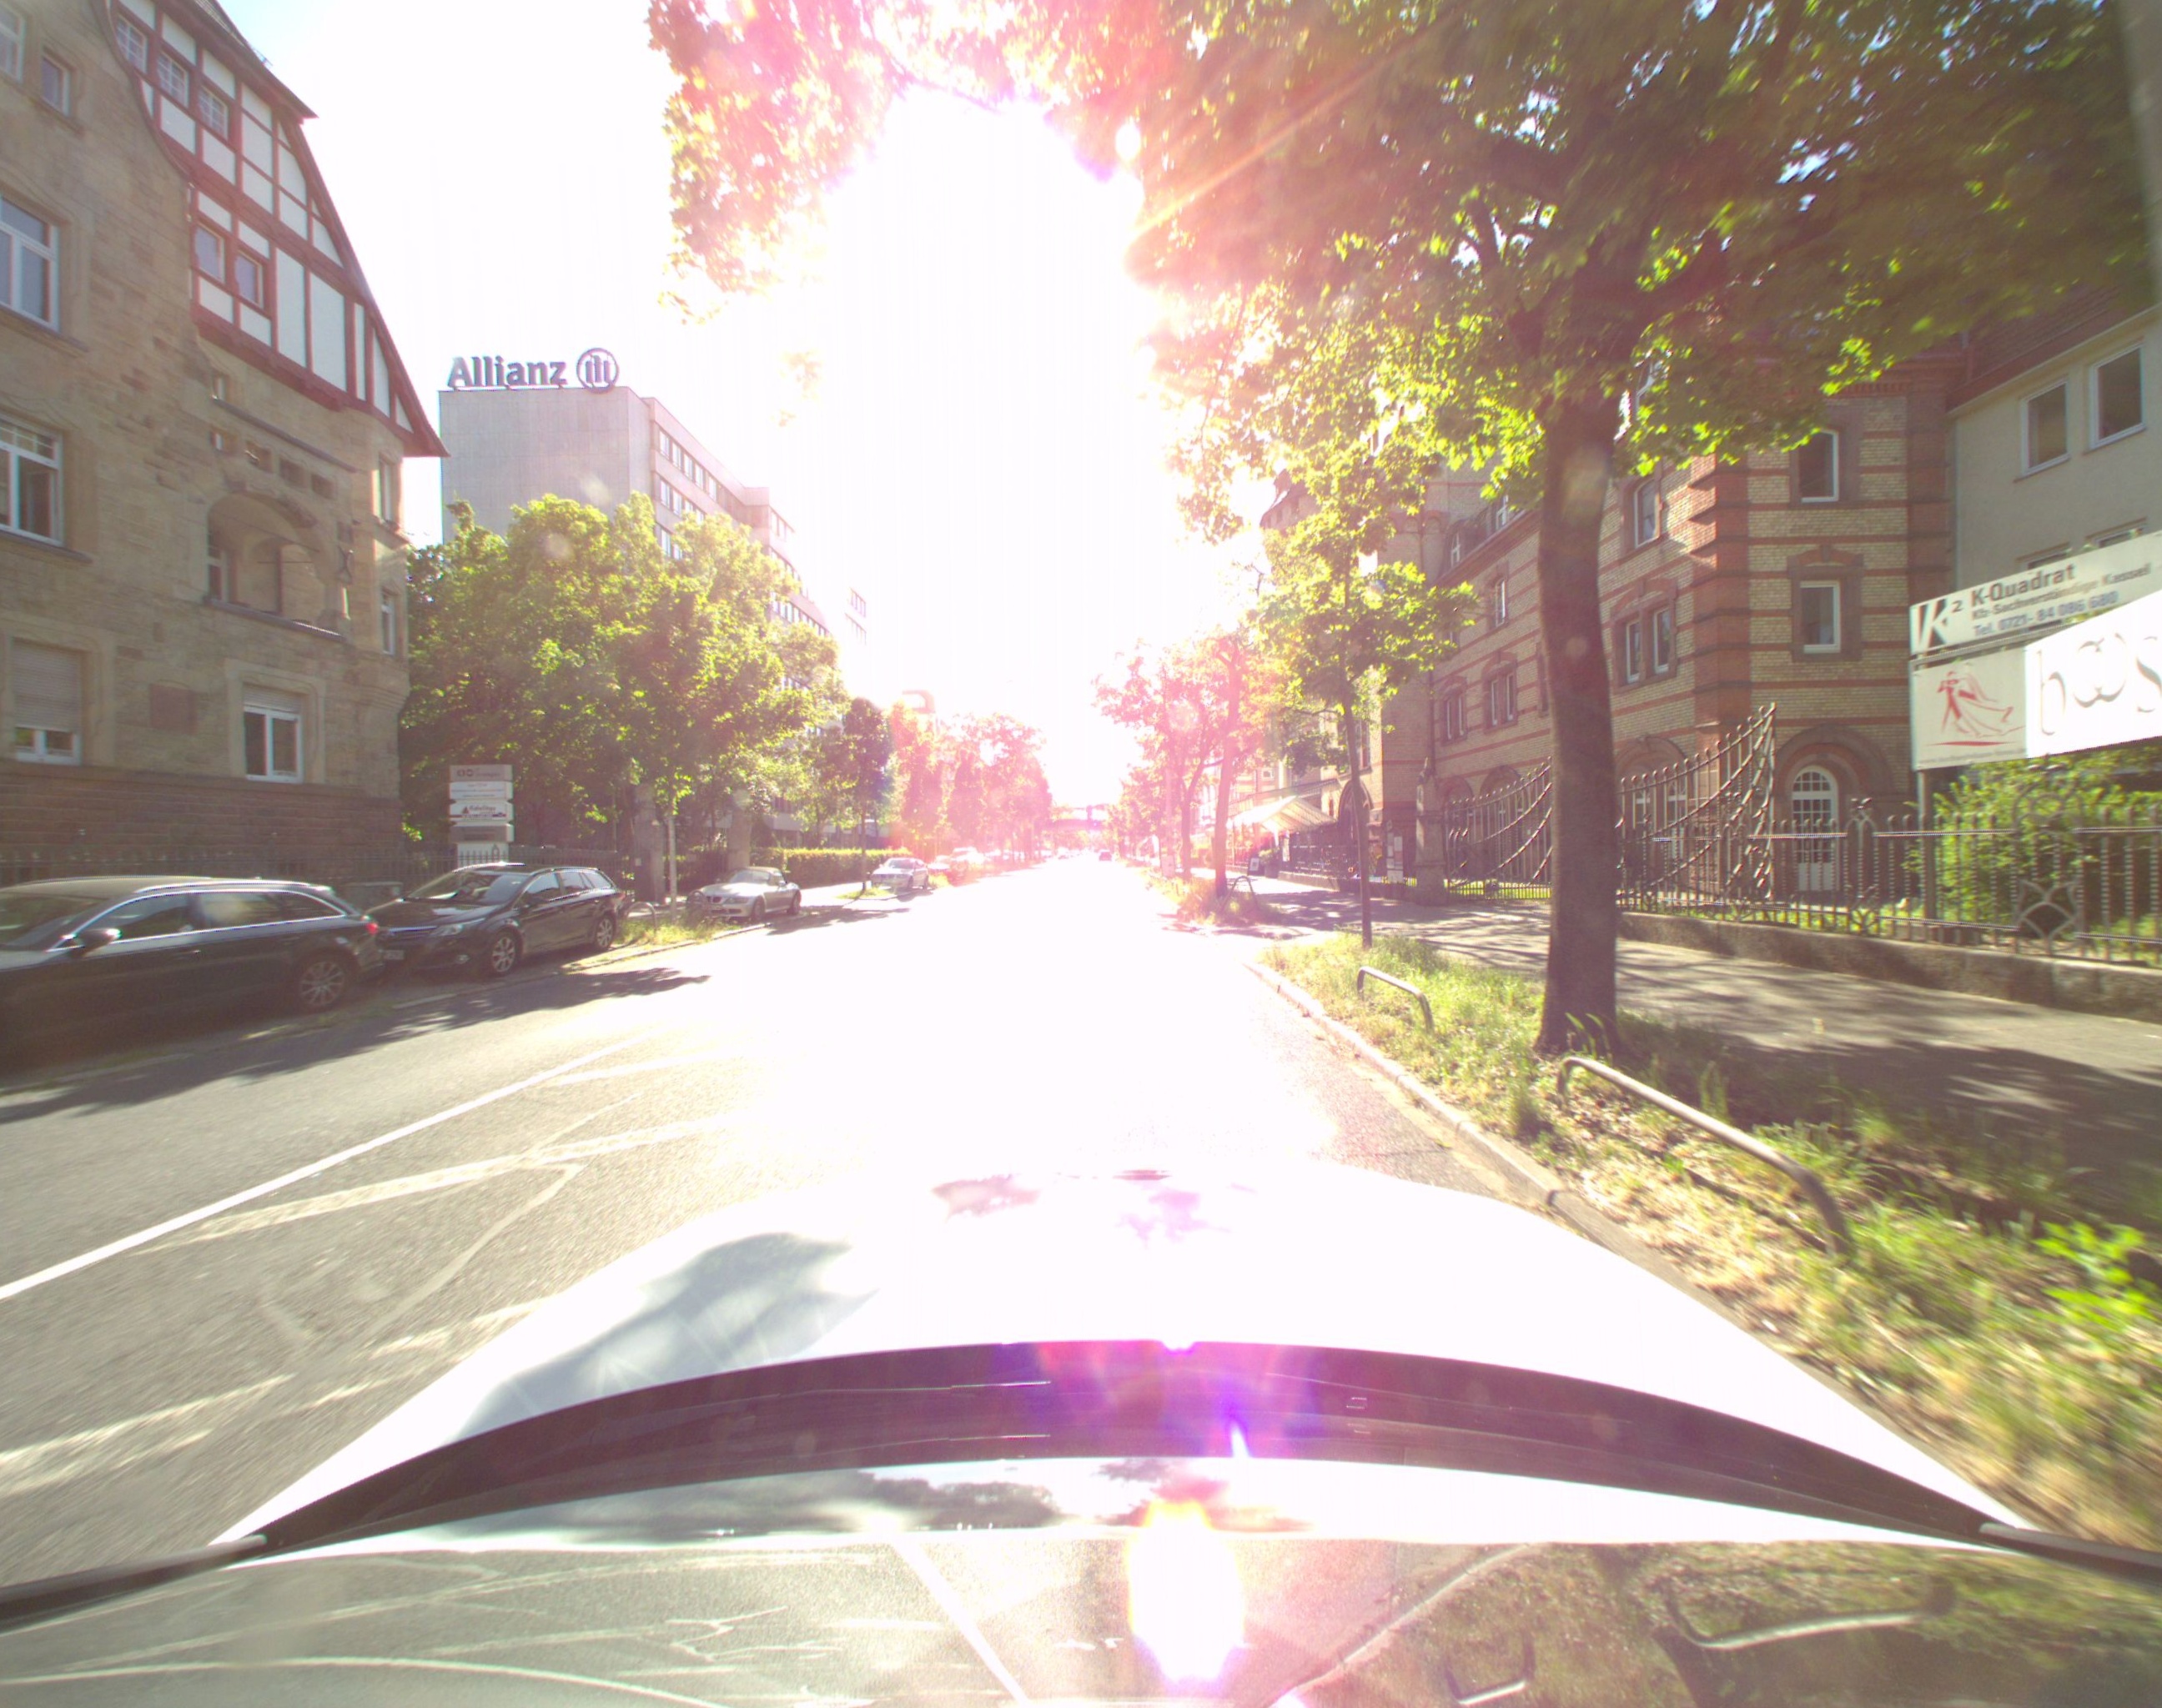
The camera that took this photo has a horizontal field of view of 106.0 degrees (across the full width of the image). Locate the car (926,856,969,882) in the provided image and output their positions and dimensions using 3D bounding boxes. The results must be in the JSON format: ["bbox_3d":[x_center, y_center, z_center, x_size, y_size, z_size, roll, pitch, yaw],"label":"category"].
[{"bbox_3d":[-7.802,0.861,47.940,1.705,1.458,4.075,0,0,3],"label":"car"}]

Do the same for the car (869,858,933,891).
[{"bbox_3d":[-8.006,0.883,36.653,1.681,1.383,4.195,0,0,4],"label":"car"}]

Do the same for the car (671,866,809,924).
[{"bbox_3d":[-8.419,0.955,20.529,1.672,1.255,4.016,0,0,2],"label":"car"}]

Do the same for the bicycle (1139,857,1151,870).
[{"bbox_3d":[5.728,0.835,72.895,0.586,1.066,2.032,-1,0,18],"label":"bicycle"}]

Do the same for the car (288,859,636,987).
[{"bbox_3d":[-8.960,0.874,12.463,1.852,1.494,4.700,3,0,-3],"label":"car"}]

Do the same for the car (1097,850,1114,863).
[{"bbox_3d":[3.003,0.281,100.733,1.978,1.600,4.140,0,0,0],"label":"car"}]

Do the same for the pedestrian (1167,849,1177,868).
[{"bbox_3d":[7.636,0.397,68.493,0.652,1.604,0.602,-4,-1,-5],"label":"pedestrian"}]

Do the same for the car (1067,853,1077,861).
[{"bbox_3d":[-1.695,0.576,162.086,1.849,1.568,4.715,-2,0,1],"label":"car"}]

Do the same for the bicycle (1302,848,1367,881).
[{"bbox_3d":[9.261,0.388,29.790,2.192,1.179,0.686,0,-1,-5],"label":"bicycle"}]

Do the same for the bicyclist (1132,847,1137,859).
[{"bbox_3d":[7.671,-0.162,117.391,0.665,1.695,0.889,0,-1,0],"label":"bicyclist"}]

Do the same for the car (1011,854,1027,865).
[{"bbox_3d":[-8.597,0.810,113.938,1.849,1.523,4.318,0,0,0],"label":"car"}]

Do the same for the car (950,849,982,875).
[{"bbox_3d":[-9.758,0.677,69.459,1.975,2.076,5.194,-3,0,-1],"label":"car"}]

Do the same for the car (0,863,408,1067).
[{"bbox_3d":[-9.091,0.866,7.378,1.848,1.427,4.722,3,0,2],"label":"car"}]

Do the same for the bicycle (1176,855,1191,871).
[{"bbox_3d":[6.527,0.585,52.000,0.683,1.027,2.095,-1,-1,0],"label":"bicycle"}]

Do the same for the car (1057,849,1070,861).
[{"bbox_3d":[-2.690,0.105,127.696,1.850,1.825,4.609,-2,0,0],"label":"car"}]

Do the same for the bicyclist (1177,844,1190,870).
[{"bbox_3d":[6.542,0.191,51.854,0.698,1.599,0.955,0,-1,0],"label":"bicyclist"}]

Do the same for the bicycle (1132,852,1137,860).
[{"bbox_3d":[7.654,0.285,117.438,0.587,1.027,1.860,-1,-1,0],"label":"bicycle"}]

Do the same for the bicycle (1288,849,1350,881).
[{"bbox_3d":[9.058,0.404,31.016,2.192,1.179,0.686,0,-1,-5],"label":"bicycle"}]
